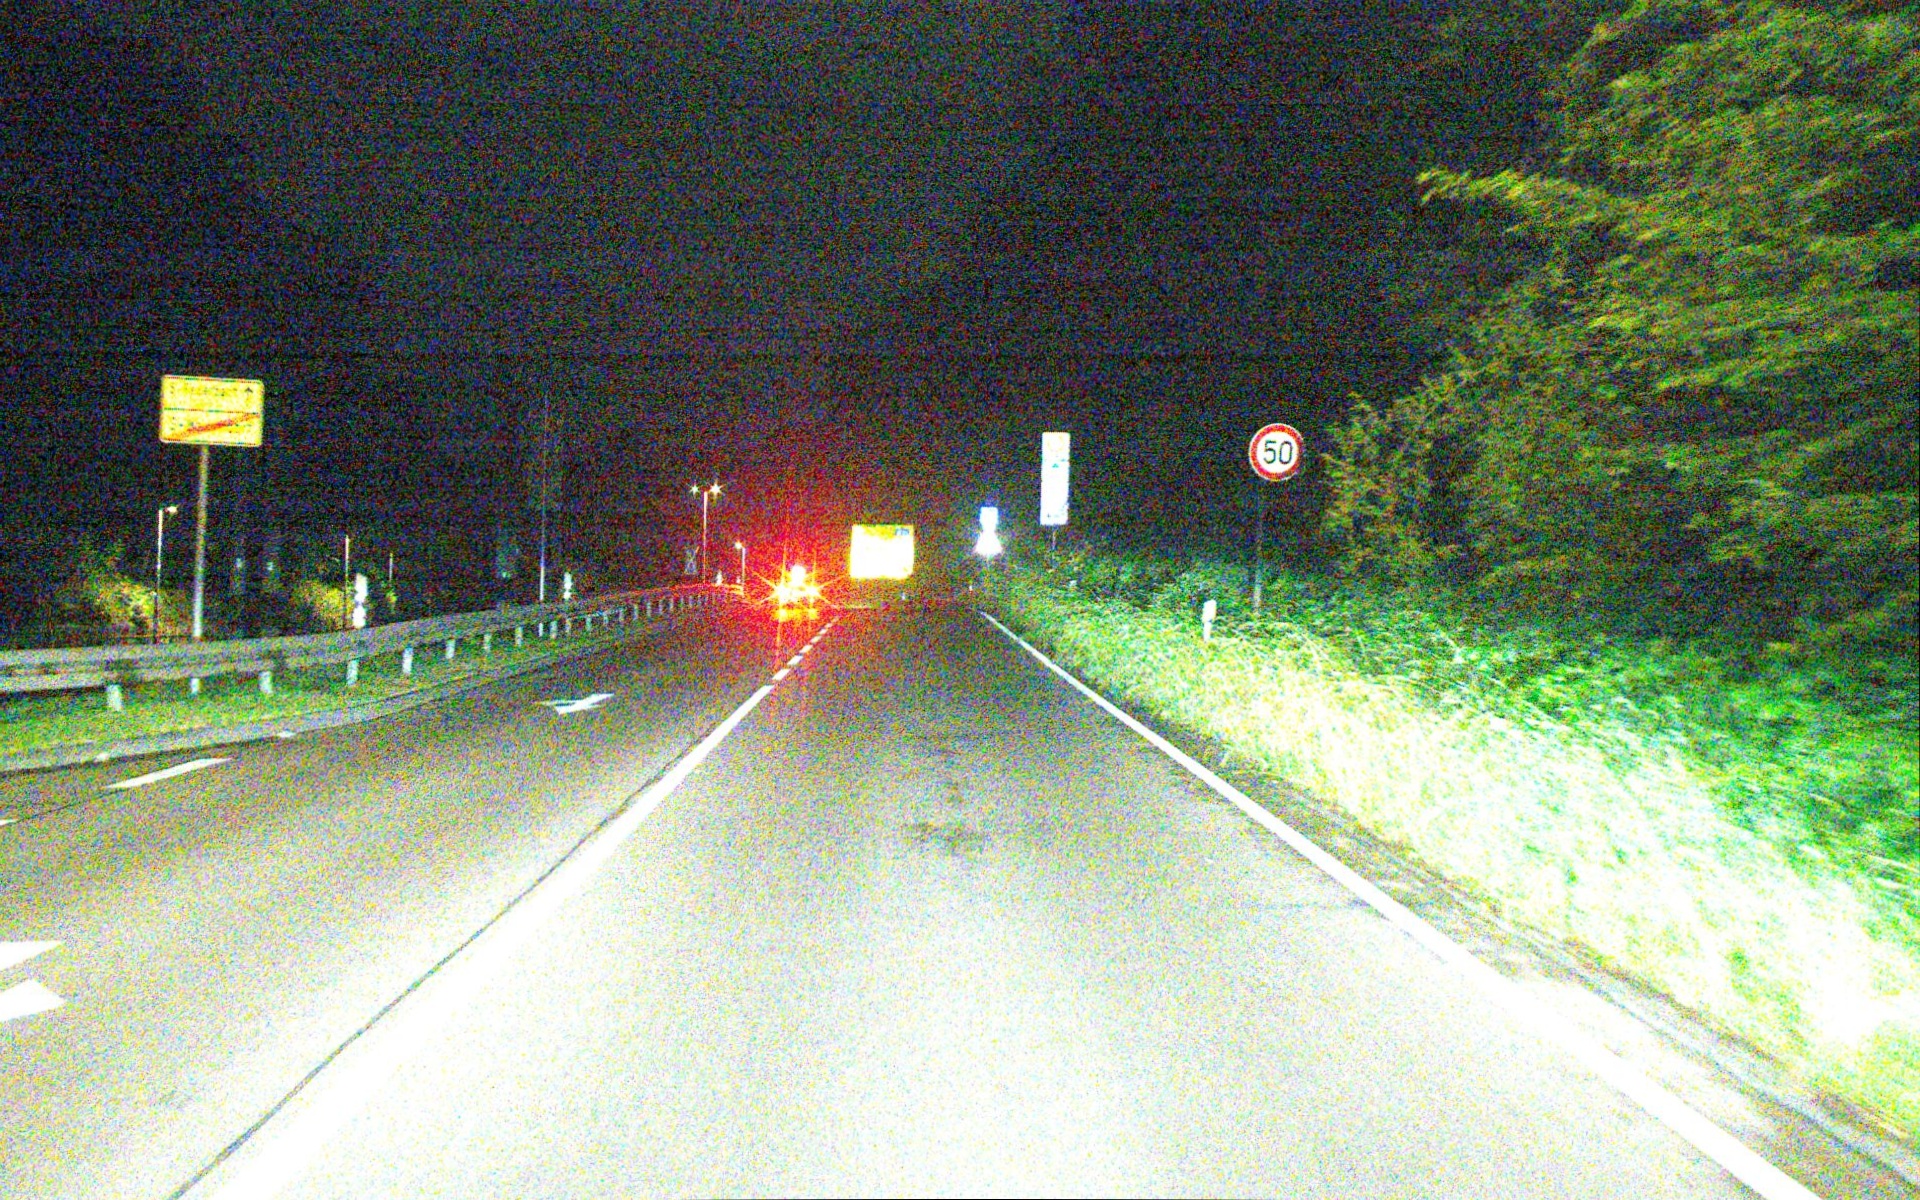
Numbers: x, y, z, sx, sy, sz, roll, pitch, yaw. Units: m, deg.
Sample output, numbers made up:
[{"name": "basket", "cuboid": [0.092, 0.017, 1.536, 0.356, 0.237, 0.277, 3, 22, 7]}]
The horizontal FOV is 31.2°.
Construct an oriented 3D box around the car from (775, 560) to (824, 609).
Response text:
[{"name": "car", "cuboid": [-7.393, -0.703, 157.729, 1.993, 2.007, 4.000, 3, -2, -5]}]
